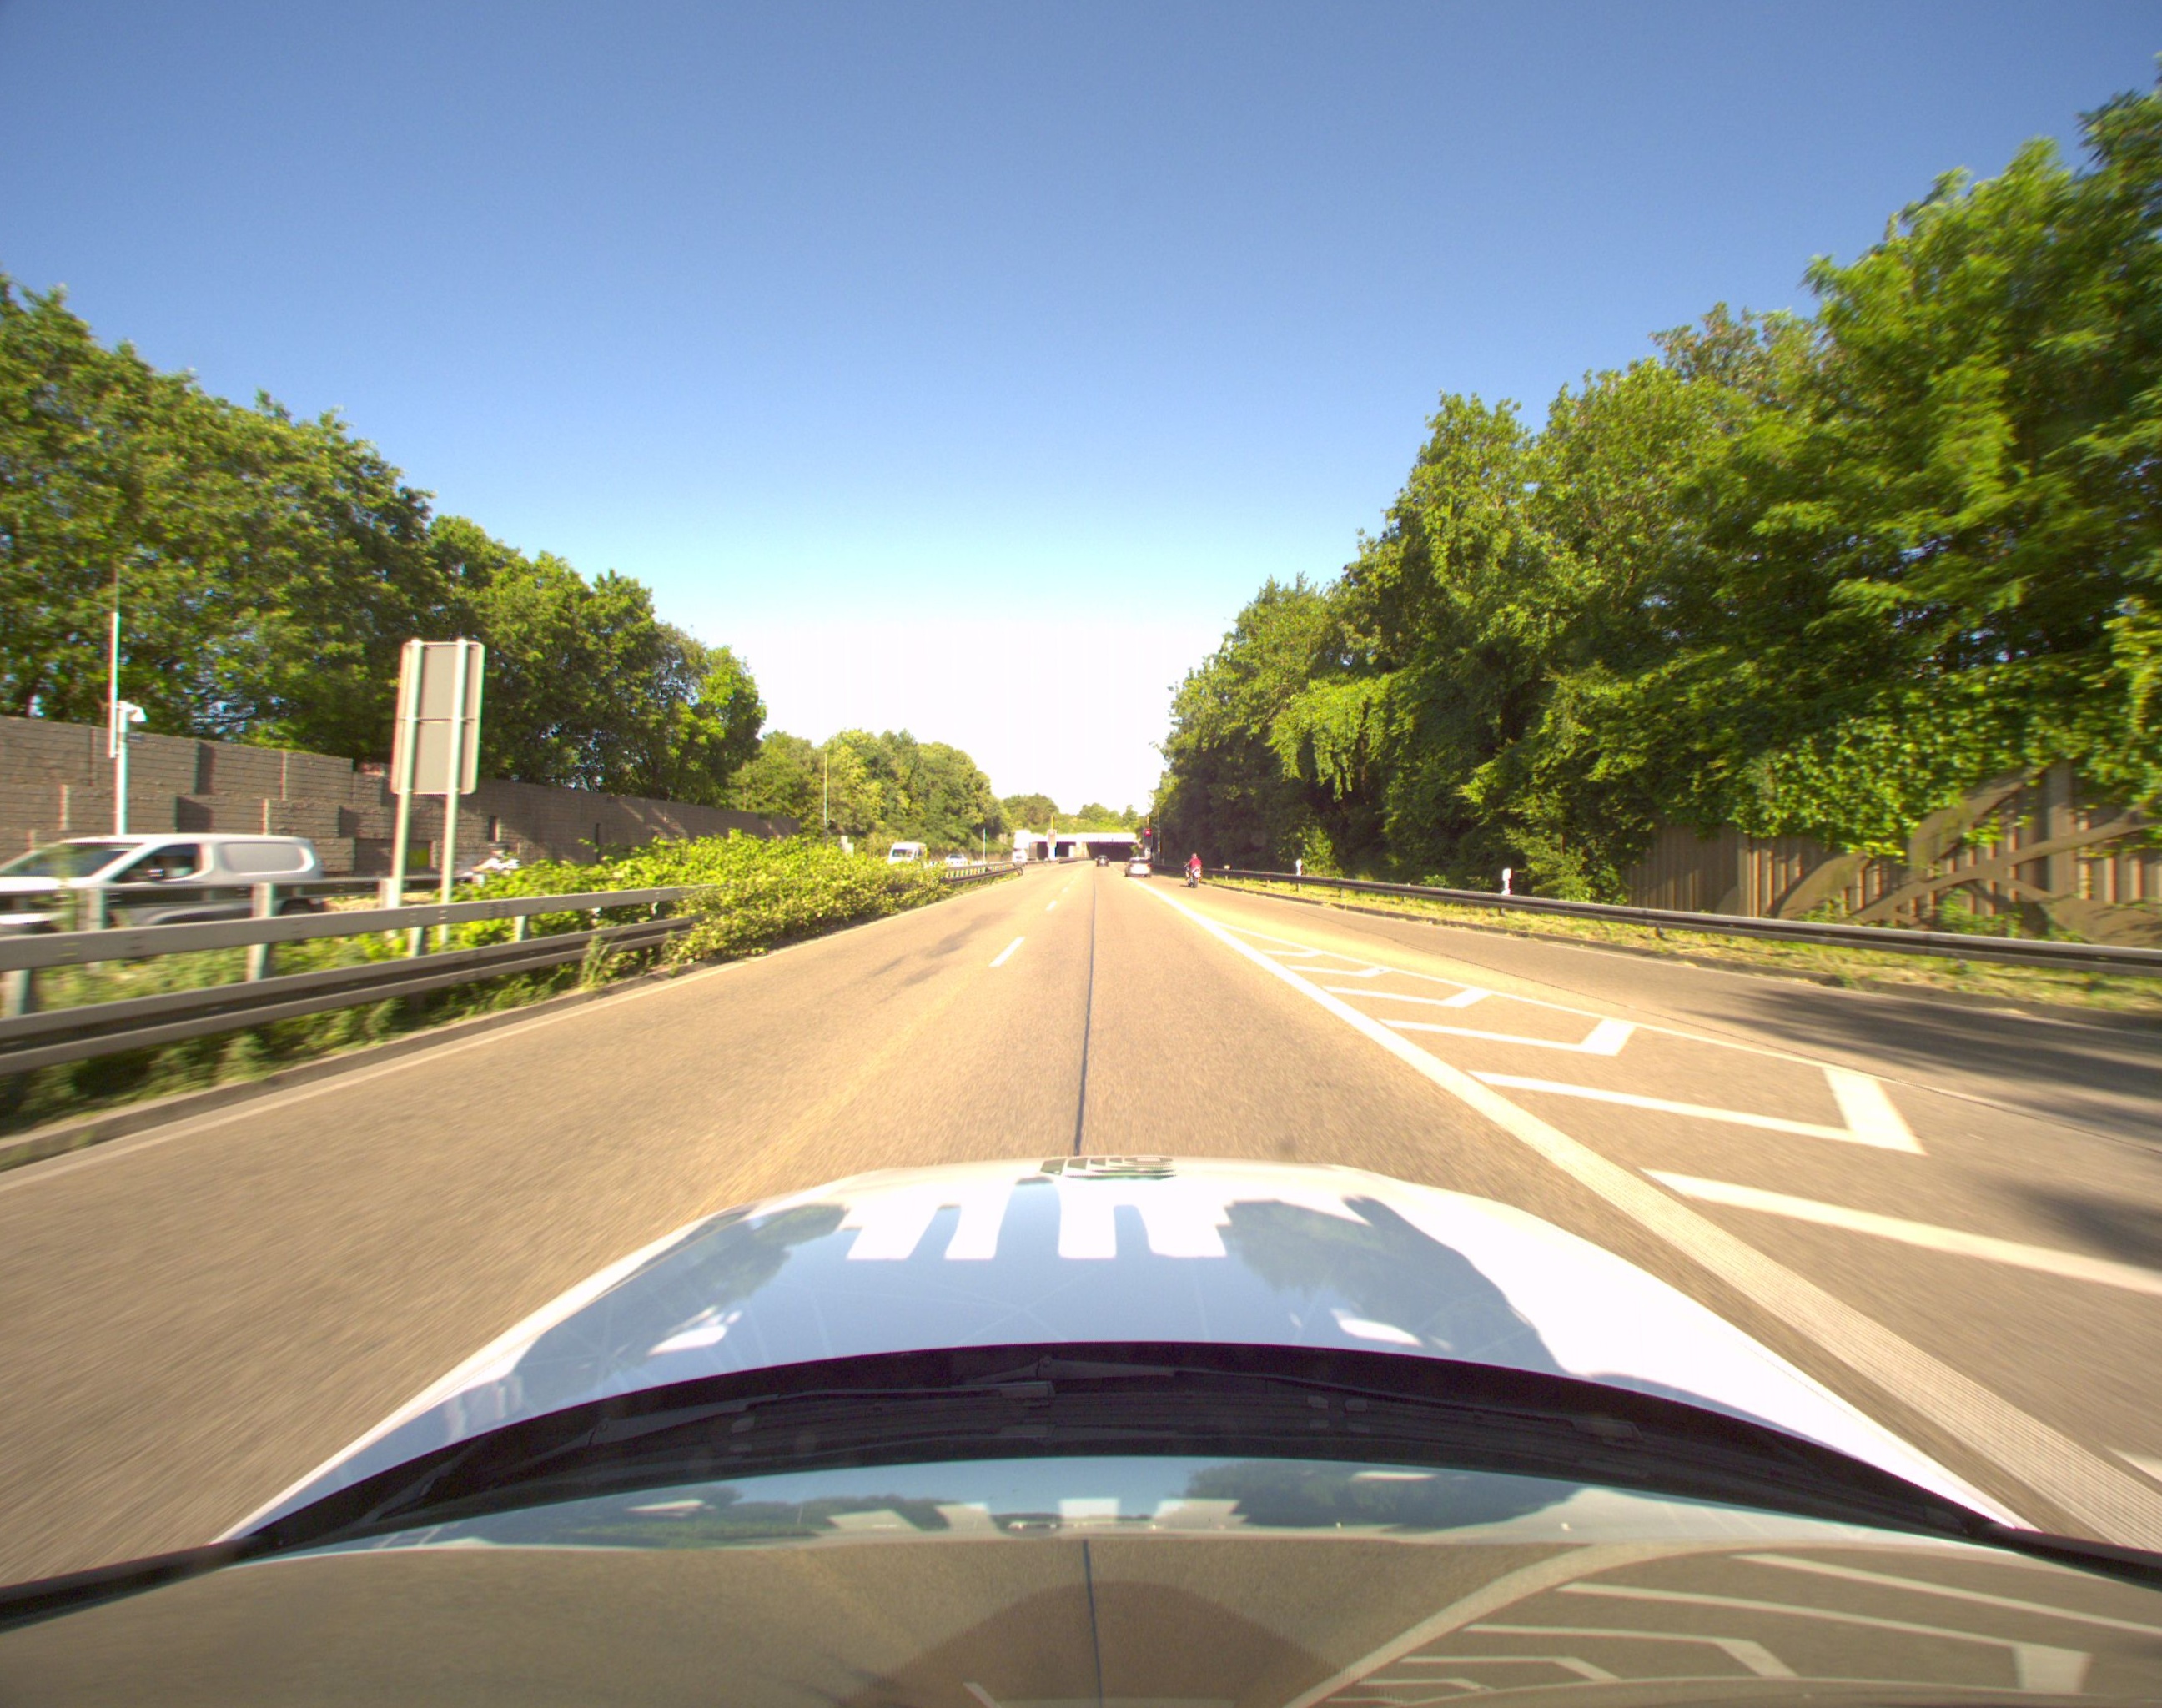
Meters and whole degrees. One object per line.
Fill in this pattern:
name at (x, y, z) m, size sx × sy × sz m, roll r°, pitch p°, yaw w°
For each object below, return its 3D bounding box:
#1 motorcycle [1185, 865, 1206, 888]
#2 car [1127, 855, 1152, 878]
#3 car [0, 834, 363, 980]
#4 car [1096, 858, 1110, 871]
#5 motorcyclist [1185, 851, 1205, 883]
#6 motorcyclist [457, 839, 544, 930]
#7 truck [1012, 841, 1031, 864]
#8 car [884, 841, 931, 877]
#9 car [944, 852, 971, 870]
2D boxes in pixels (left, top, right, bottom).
motorcycle at (5.465, 1.061, 39.059) m, size 0.854 × 0.991 × 2.732 m, roll 1°, pitch 0°, yaw 5°
car at (4.305, 0.910, 60.211) m, size 1.661 × 1.552 × 4.002 m, roll 2°, pitch 1°, yaw 2°
car at (-14.242, 0.643, 12.715) m, size 1.815 × 1.821 × 4.623 m, roll 2°, pitch 1°, yaw 2°
car at (3.286, 1.533, 119.712) m, size 1.986 × 1.925 × 4.002 m, roll 0°, pitch 0°, yaw 2°
motorcyclist at (5.457, 0.619, 38.966) m, size 0.879 × 1.501 × 1.065 m, roll 2°, pitch 1°, yaw 5°
motorcyclist at (-10.859, 0.550, 15.263) m, size 0.819 × 1.625 × 1.046 m, roll 2°, pitch 0°, yaw 1°
truck at (-11.143, -0.300, 152.642) m, size 2.725 × 4.261 × 6.392 m, roll 2°, pitch 1°, yaw 3°
car at (-13.543, 0.319, 63.975) m, size 2.139 × 2.611 × 6.053 m, roll 2°, pitch 1°, yaw 1°
car at (-13.109, 0.730, 86.492) m, size 1.986 × 1.782 × 4.786 m, roll 2°, pitch 1°, yaw 1°
